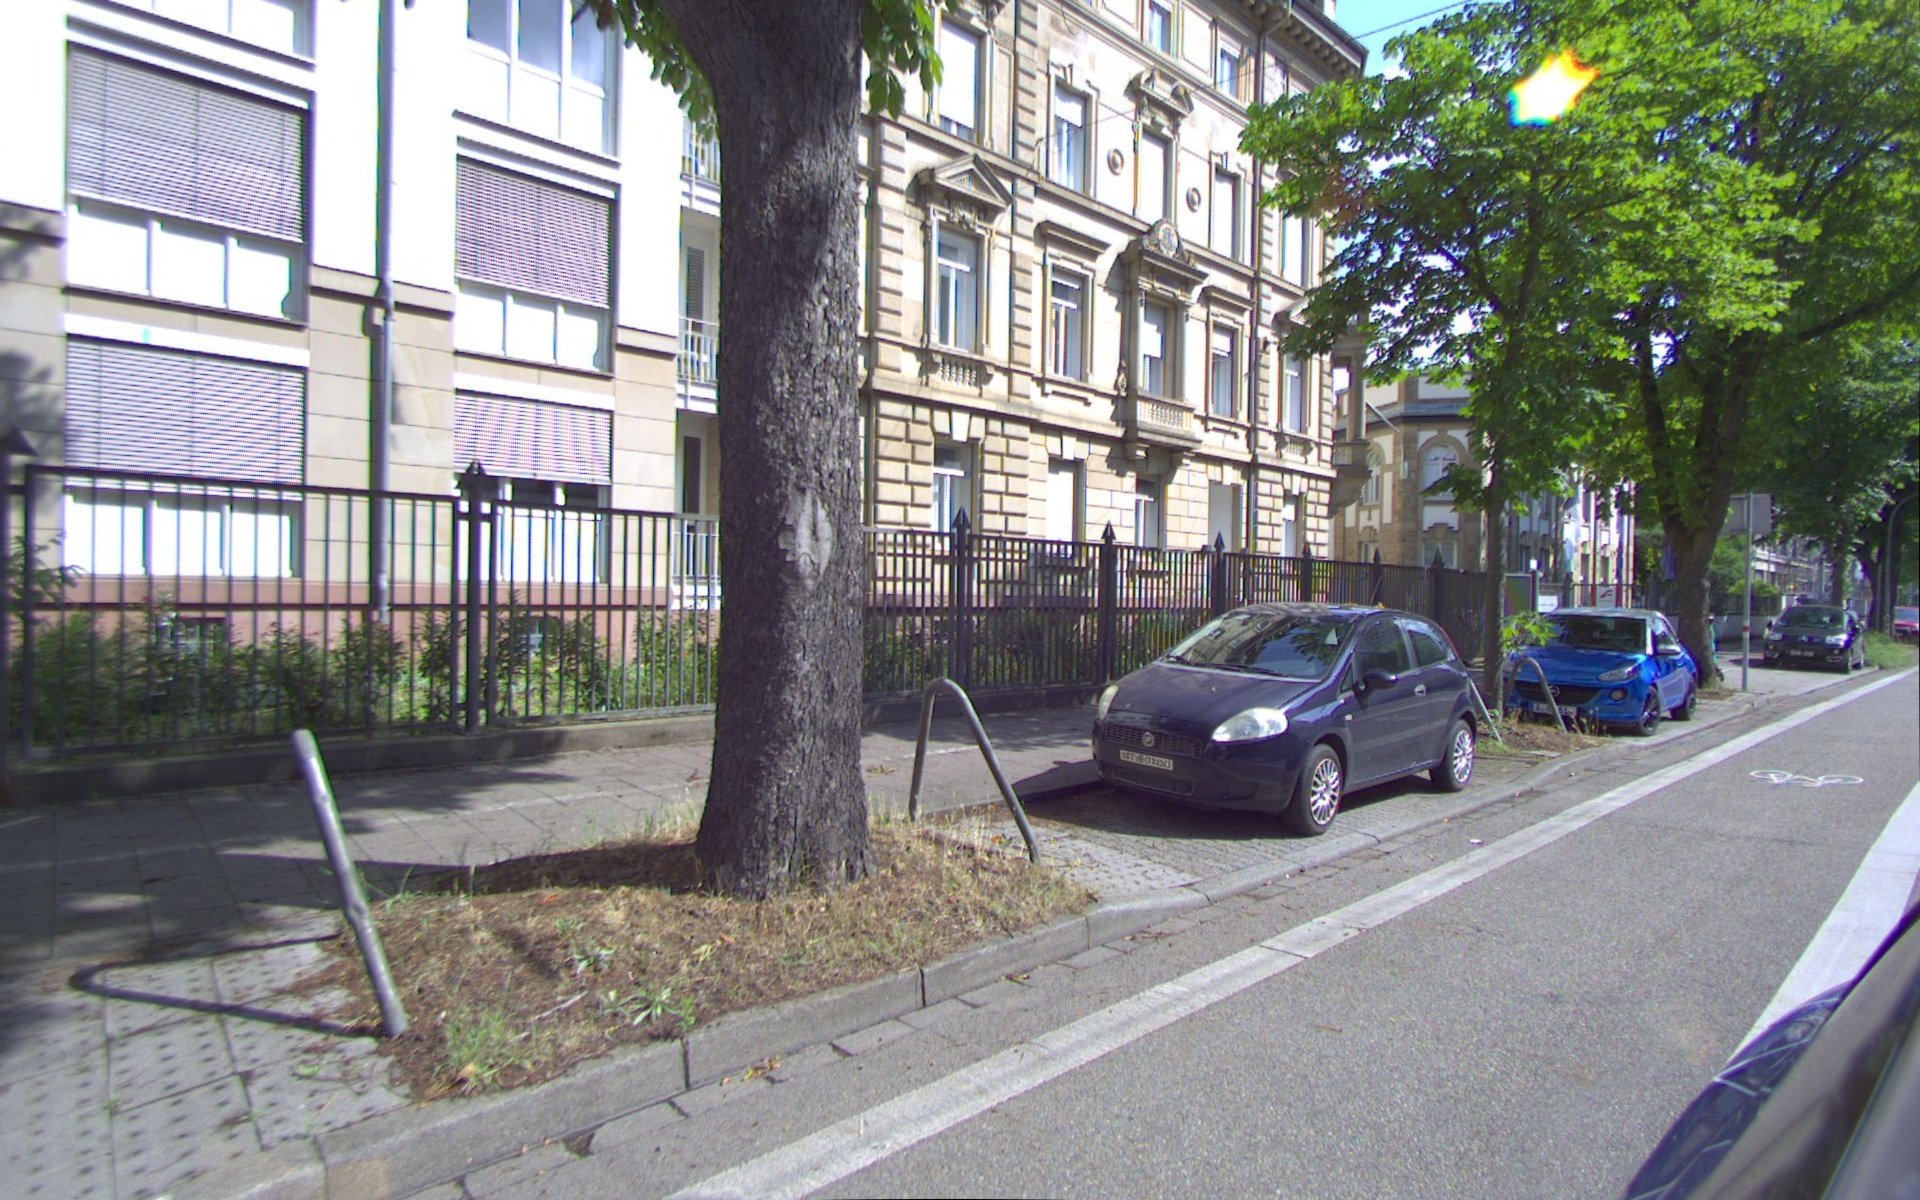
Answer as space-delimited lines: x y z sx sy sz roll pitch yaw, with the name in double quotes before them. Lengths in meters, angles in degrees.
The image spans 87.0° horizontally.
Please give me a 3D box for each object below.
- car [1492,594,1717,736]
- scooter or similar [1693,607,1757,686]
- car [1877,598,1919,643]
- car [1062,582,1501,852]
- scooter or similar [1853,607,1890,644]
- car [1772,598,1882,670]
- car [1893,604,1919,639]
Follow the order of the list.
"car" 8.423 0.733 13.117 3.567 1.514 1.641 0 2 -44
"scooter or similar" 13.571 0.798 17.985 0.436 1.315 1.176 4 1 16
"car" 38.554 0.803 40.970 4.212 1.697 1.877 0 2 -45
"car" 2.615 0.675 7.755 3.696 1.514 1.641 0 2 -45
"scooter or similar" 32.329 0.892 35.889 1.233 1.252 0.343 2 3 -18
"car" 22.142 0.787 25.795 4.133 1.610 1.699 0 3 -44
"car" 43.926 0.978 46.407 1.601 1.446 3.540 6 4 43
